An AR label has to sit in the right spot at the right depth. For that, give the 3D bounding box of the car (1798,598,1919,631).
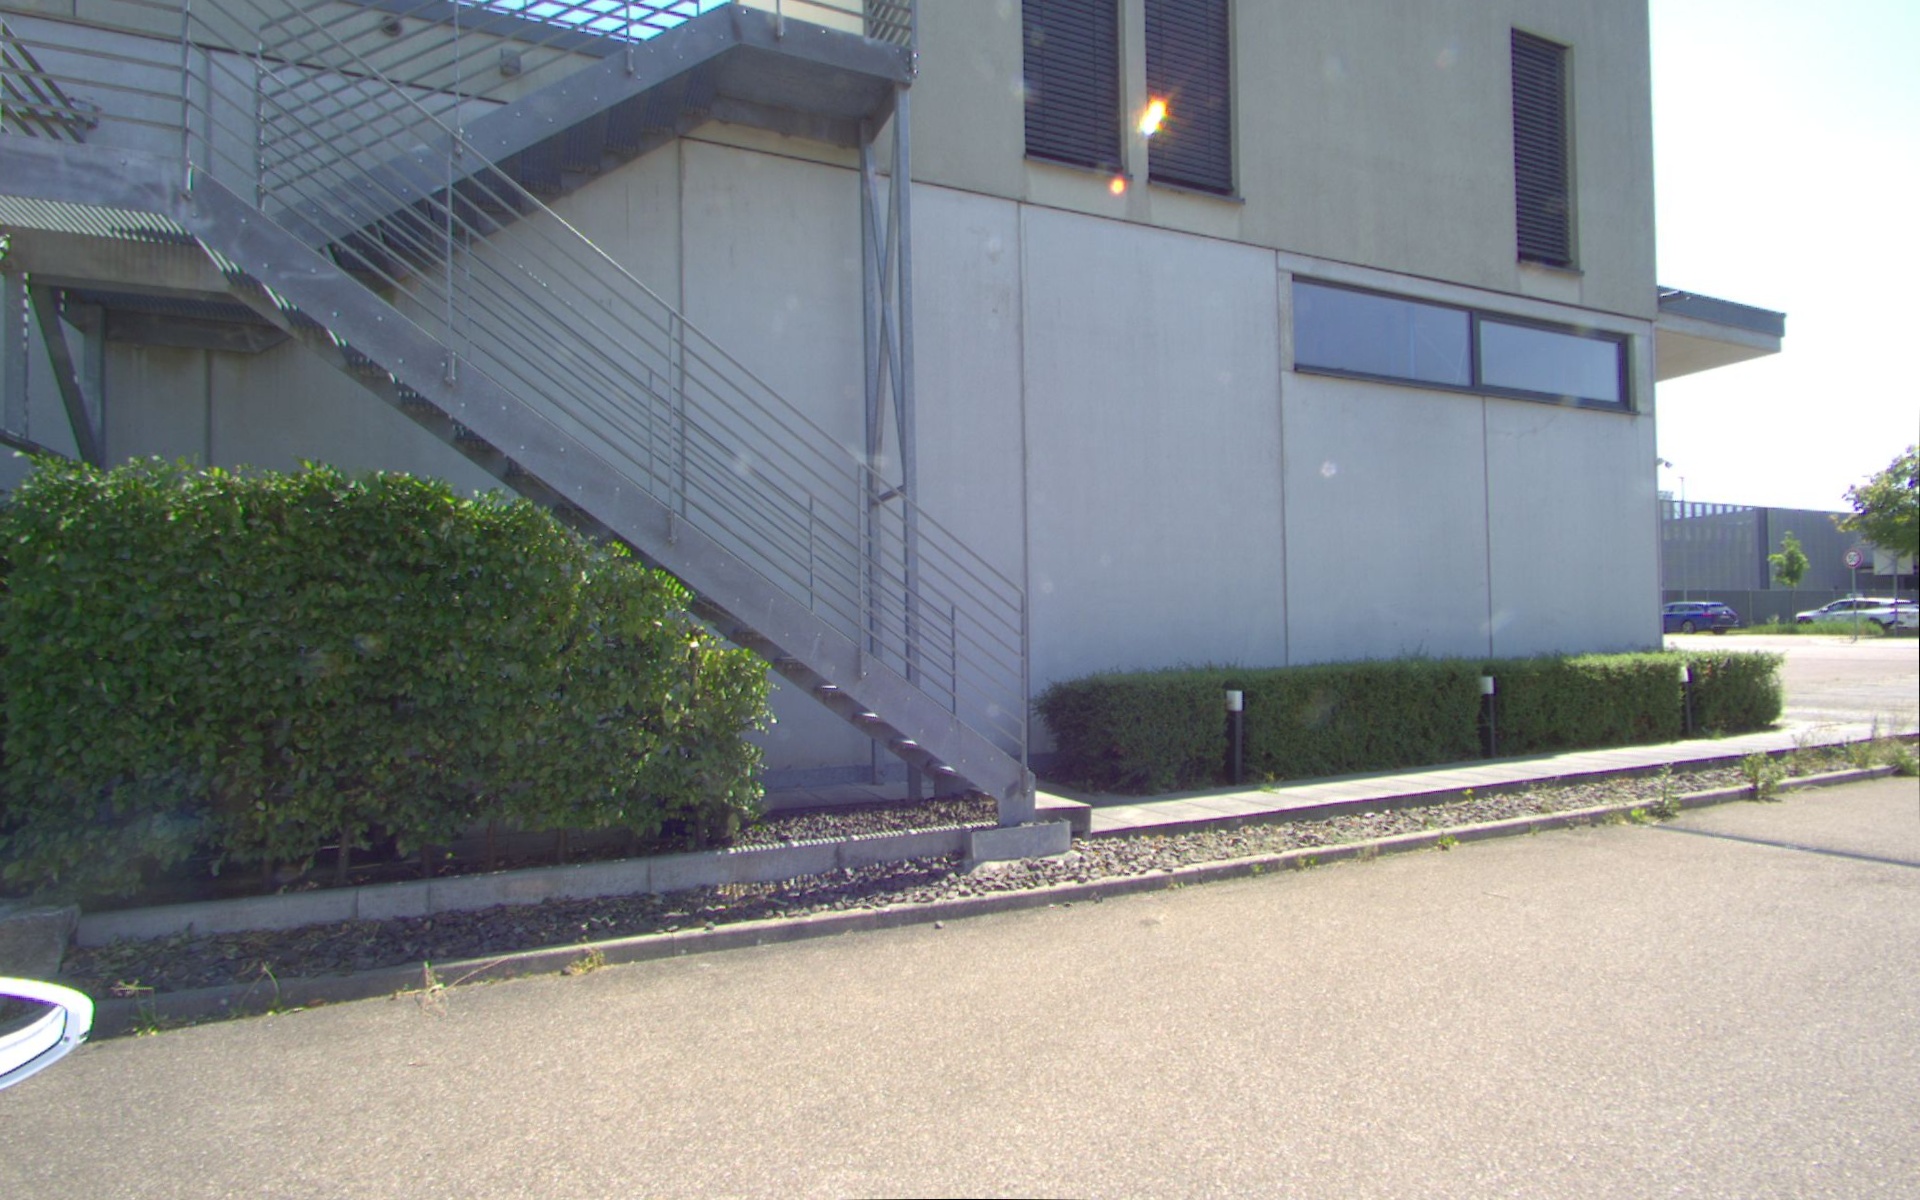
[{"bbox_3d":[42.306,0.709,47.027,1.717,1.433,4.446,1,-2,-11],"label":"car"}]

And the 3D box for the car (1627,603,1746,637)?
[{"bbox_3d":[32.754,0.920,45.310,1.717,1.433,4.446,1,-2,-10],"label":"car"}]

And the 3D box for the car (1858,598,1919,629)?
[{"bbox_3d":[45.792,0.672,47.868,1.717,1.433,4.064,1,-2,-11],"label":"car"}]
